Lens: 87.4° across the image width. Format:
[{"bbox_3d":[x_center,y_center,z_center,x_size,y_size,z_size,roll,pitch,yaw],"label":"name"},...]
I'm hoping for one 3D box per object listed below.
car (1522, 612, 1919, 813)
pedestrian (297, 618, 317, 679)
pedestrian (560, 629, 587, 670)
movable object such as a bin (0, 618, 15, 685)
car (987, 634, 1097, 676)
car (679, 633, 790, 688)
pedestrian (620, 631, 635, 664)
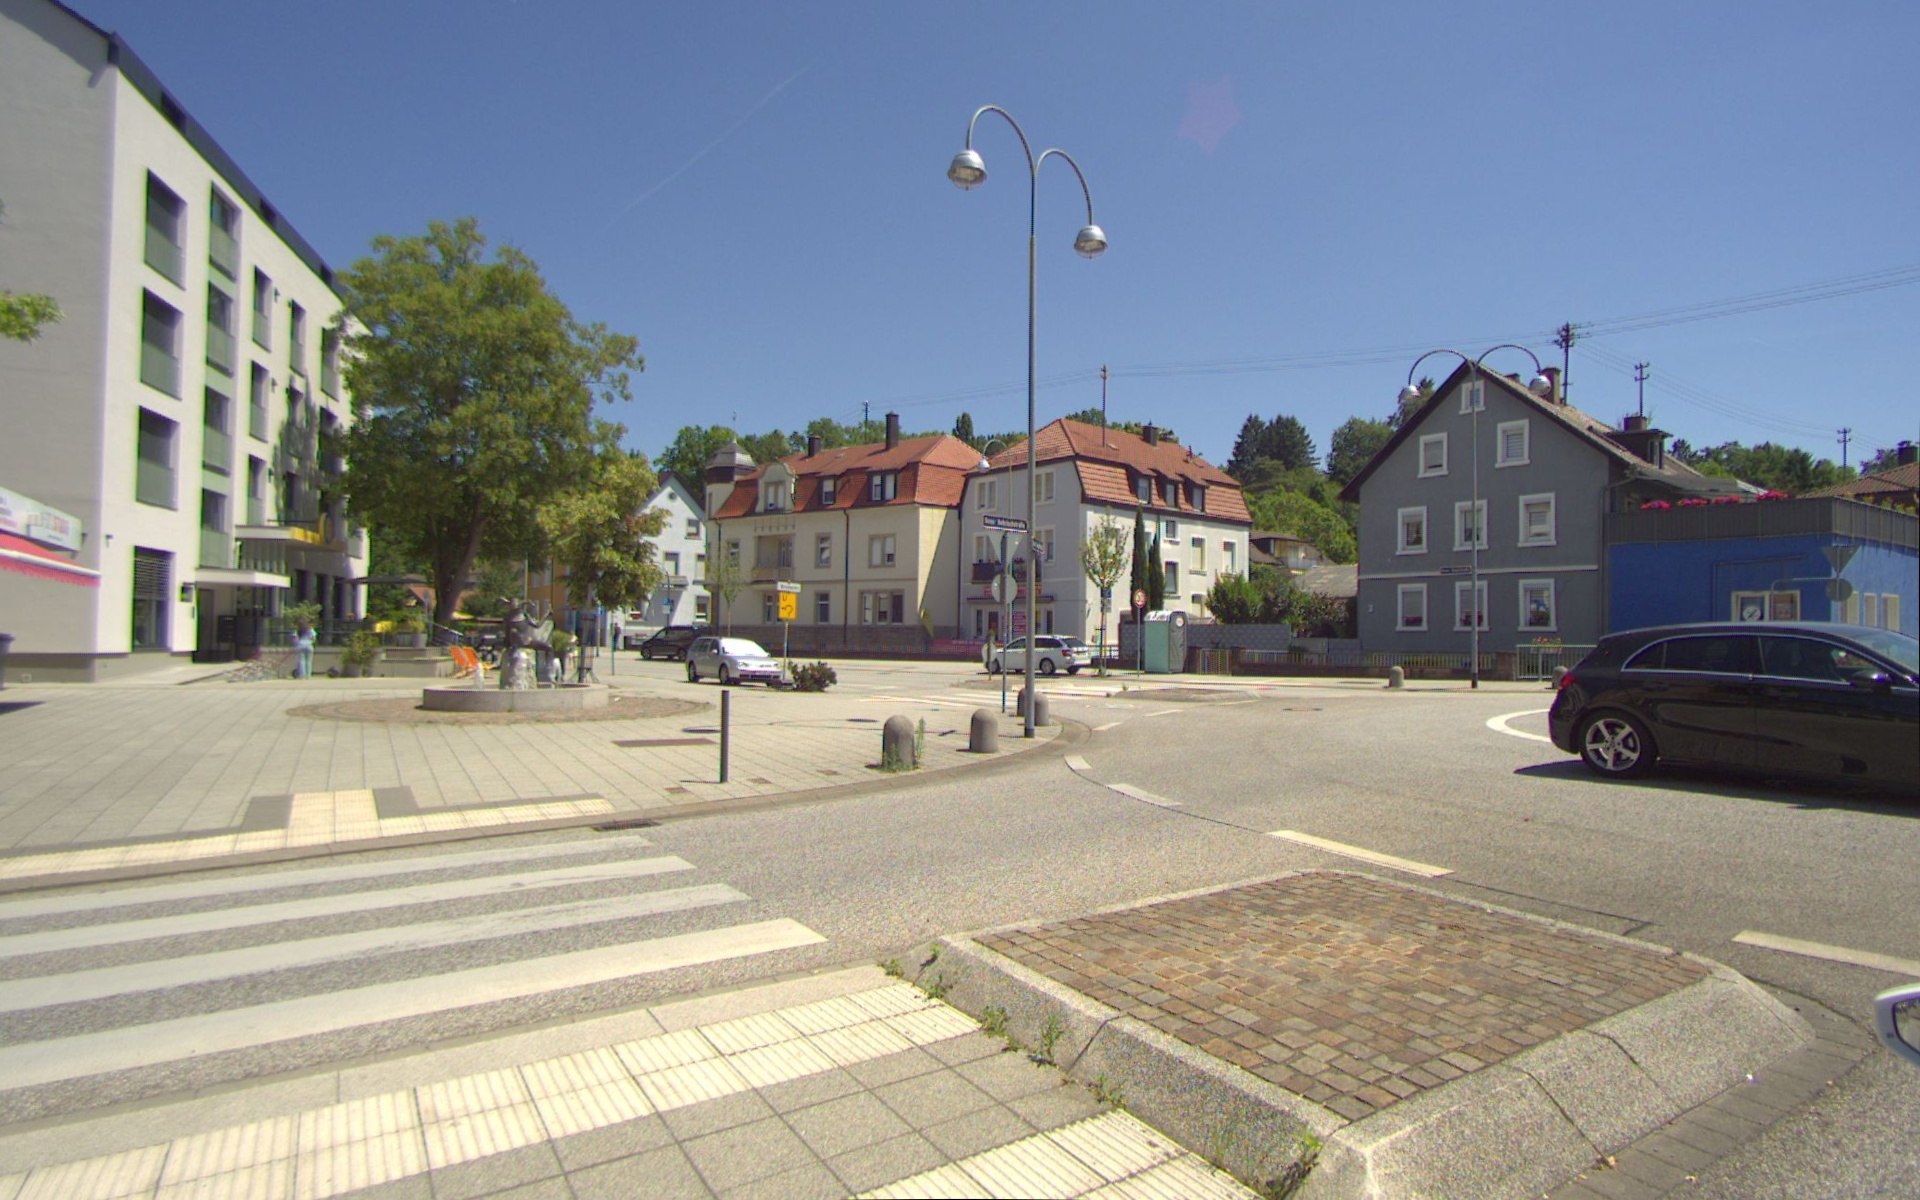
[{"bbox_3d":[7.443,0.853,8.557,1.746,1.476,4.407,0,-2,-28],"label":"car"},{"bbox_3d":[-17.812,1.317,27.398,0.445,1.640,0.447,1,-2,-34],"label":"pedestrian"},{"bbox_3d":[-15.997,2.055,41.629,0.935,1.670,0.816,0,-1,-14],"label":"pedestrian"},{"bbox_3d":[-18.778,0.991,19.275,0.738,1.269,0.831,1,-2,-30],"label":"movable object such as a bin"},{"bbox_3d":[3.058,2.037,38.085,4.020,1.410,1.600,-1,0,42],"label":"car"},{"bbox_3d":[-6.941,1.791,30.659,1.781,1.544,3.956,1,-2,-39],"label":"car"},{"bbox_3d":[-20.297,2.893,61.363,0.706,2.040,0.875,0,-2,-9],"label":"pedestrian"}]
